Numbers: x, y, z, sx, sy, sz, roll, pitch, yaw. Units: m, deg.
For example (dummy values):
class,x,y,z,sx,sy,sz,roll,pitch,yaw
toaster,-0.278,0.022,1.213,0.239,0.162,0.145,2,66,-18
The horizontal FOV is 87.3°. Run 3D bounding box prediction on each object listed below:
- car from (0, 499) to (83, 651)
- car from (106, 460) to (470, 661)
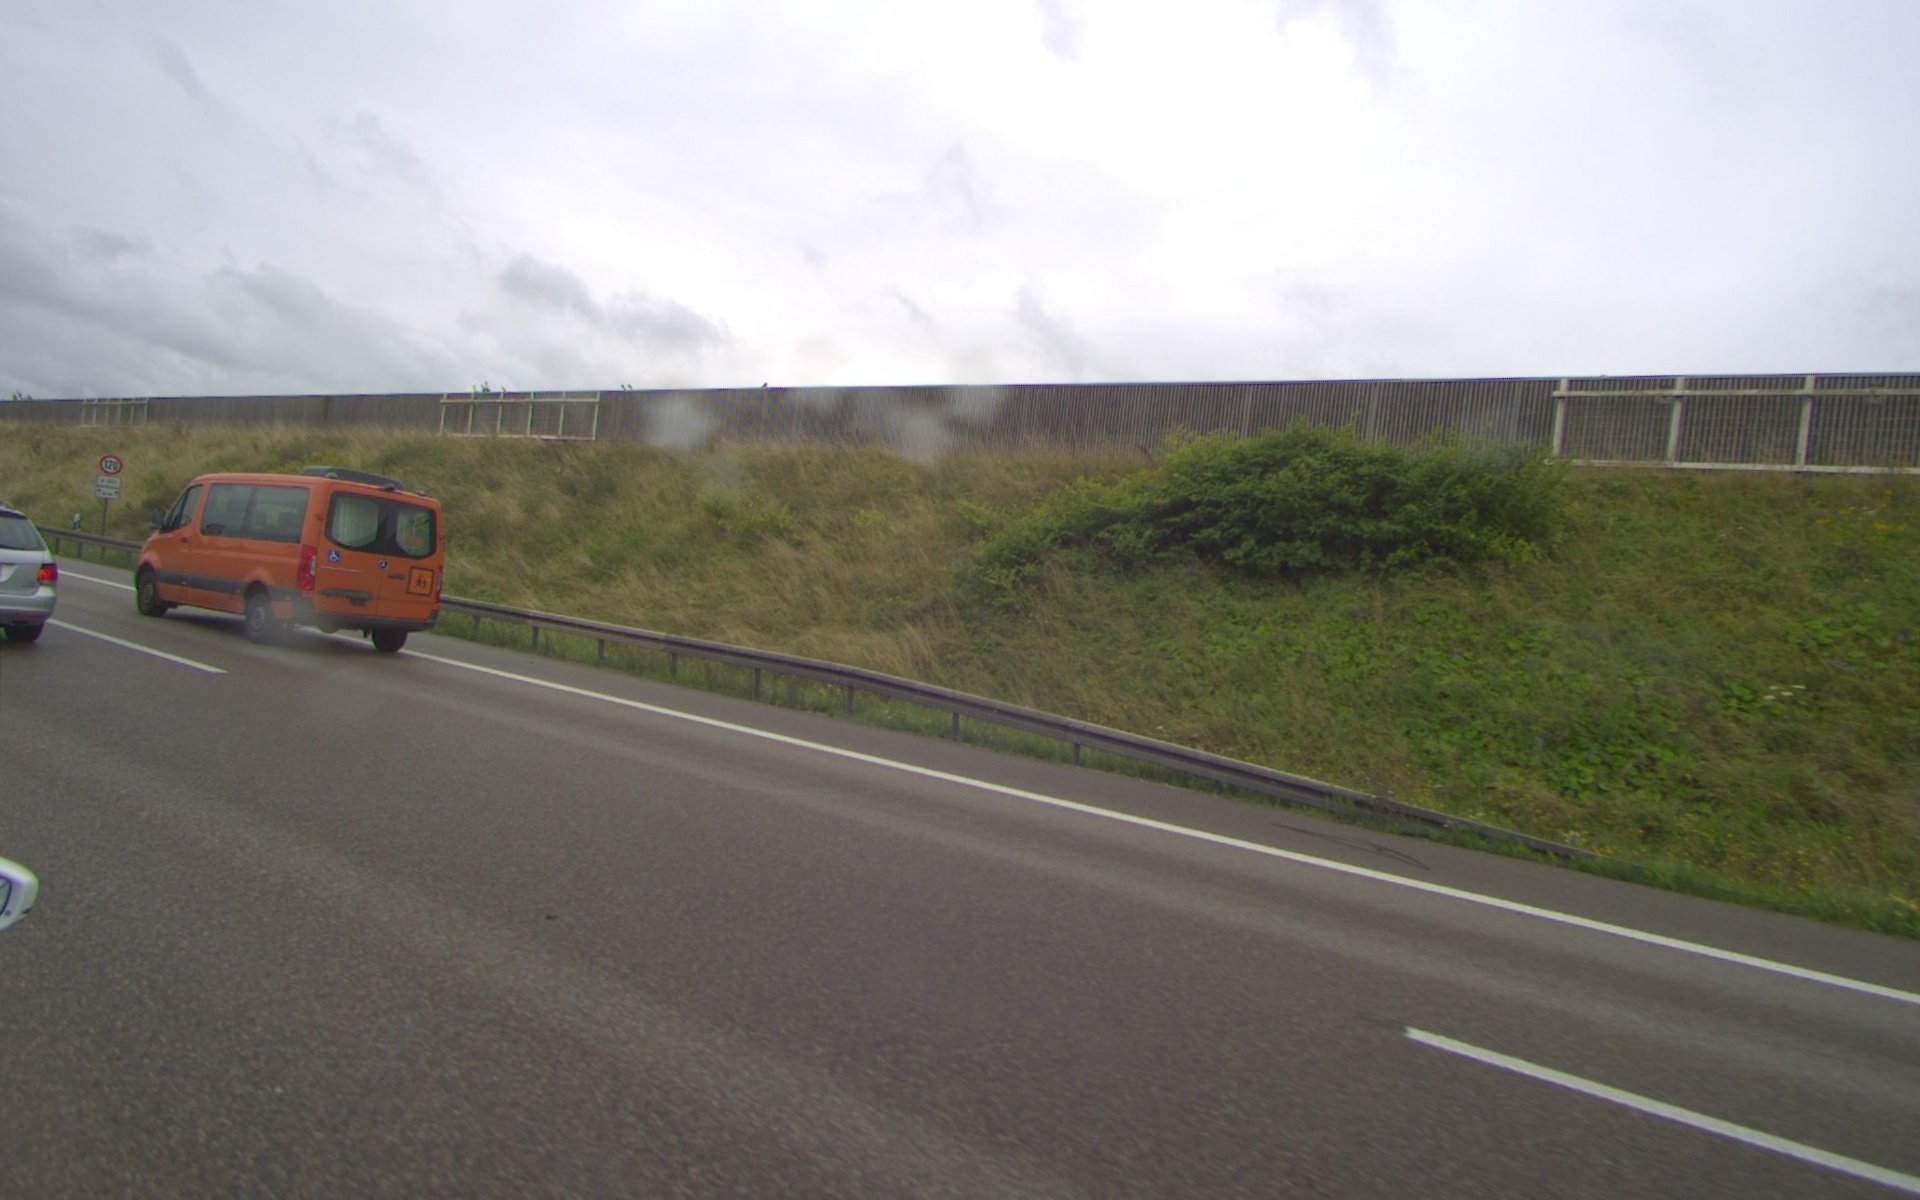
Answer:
class,x,y,z,sx,sy,sz,roll,pitch,yaw
car,-11.373,-0.486,10.736,4.442,1.442,1.744,7,0,32
car,-10.457,-0.673,15.466,6.078,2.343,2.089,7,-1,31
